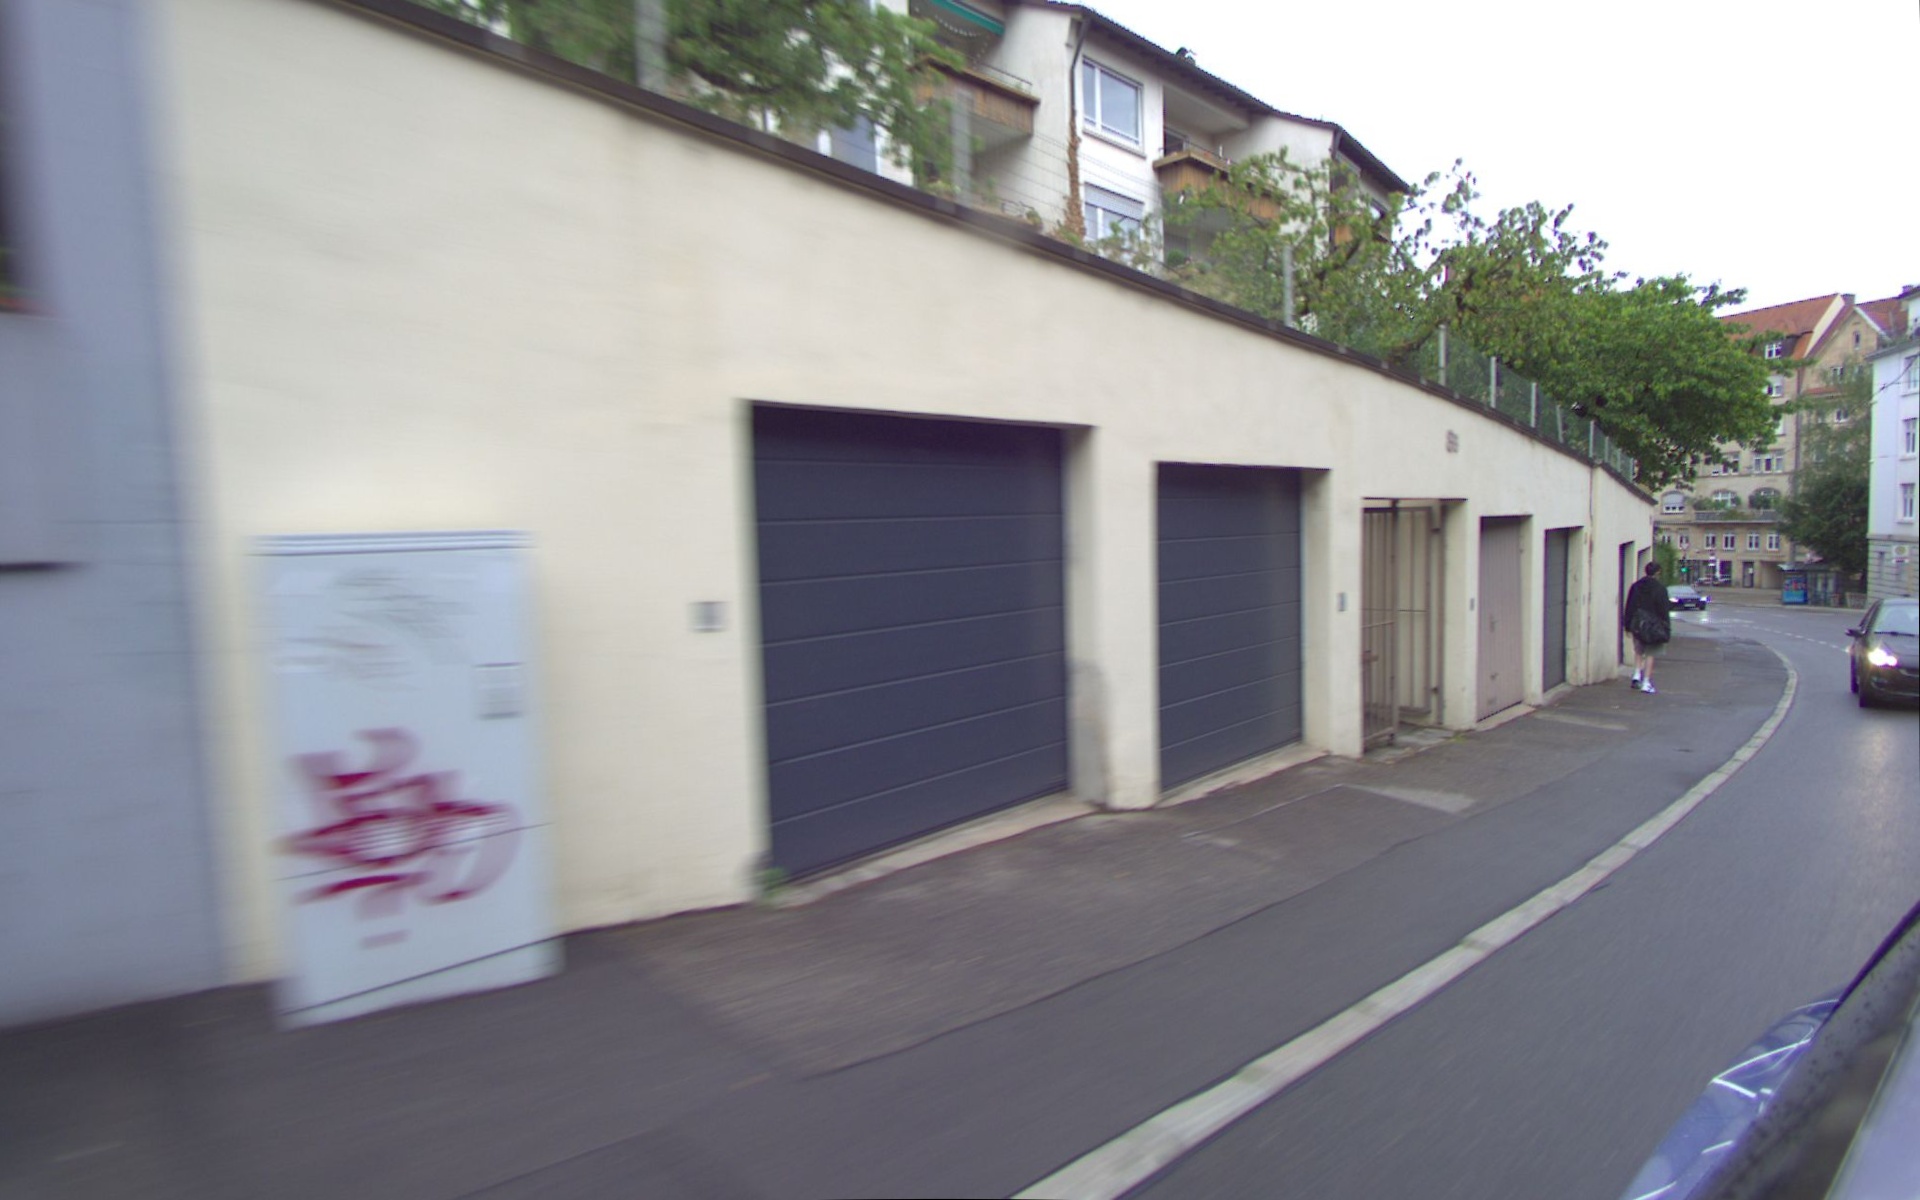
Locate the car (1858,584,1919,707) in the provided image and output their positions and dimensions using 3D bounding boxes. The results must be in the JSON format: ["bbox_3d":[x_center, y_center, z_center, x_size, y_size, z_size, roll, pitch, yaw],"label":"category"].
[{"bbox_3d":[13.712,0.540,14.041,1.693,1.483,3.938,-3,0,44],"label":"car"}]

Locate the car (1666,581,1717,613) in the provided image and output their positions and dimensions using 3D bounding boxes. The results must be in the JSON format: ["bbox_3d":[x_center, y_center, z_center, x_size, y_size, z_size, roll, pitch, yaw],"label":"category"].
[{"bbox_3d":[42.044,-0.184,58.241,1.881,1.717,3.960,-2,0,29],"label":"car"}]

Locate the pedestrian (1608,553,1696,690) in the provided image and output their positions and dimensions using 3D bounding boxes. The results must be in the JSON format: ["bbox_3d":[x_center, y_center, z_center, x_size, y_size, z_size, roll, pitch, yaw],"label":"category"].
[{"bbox_3d":[9.900,0.276,14.478,0.899,1.873,0.790,1,2,44],"label":"pedestrian"}]
